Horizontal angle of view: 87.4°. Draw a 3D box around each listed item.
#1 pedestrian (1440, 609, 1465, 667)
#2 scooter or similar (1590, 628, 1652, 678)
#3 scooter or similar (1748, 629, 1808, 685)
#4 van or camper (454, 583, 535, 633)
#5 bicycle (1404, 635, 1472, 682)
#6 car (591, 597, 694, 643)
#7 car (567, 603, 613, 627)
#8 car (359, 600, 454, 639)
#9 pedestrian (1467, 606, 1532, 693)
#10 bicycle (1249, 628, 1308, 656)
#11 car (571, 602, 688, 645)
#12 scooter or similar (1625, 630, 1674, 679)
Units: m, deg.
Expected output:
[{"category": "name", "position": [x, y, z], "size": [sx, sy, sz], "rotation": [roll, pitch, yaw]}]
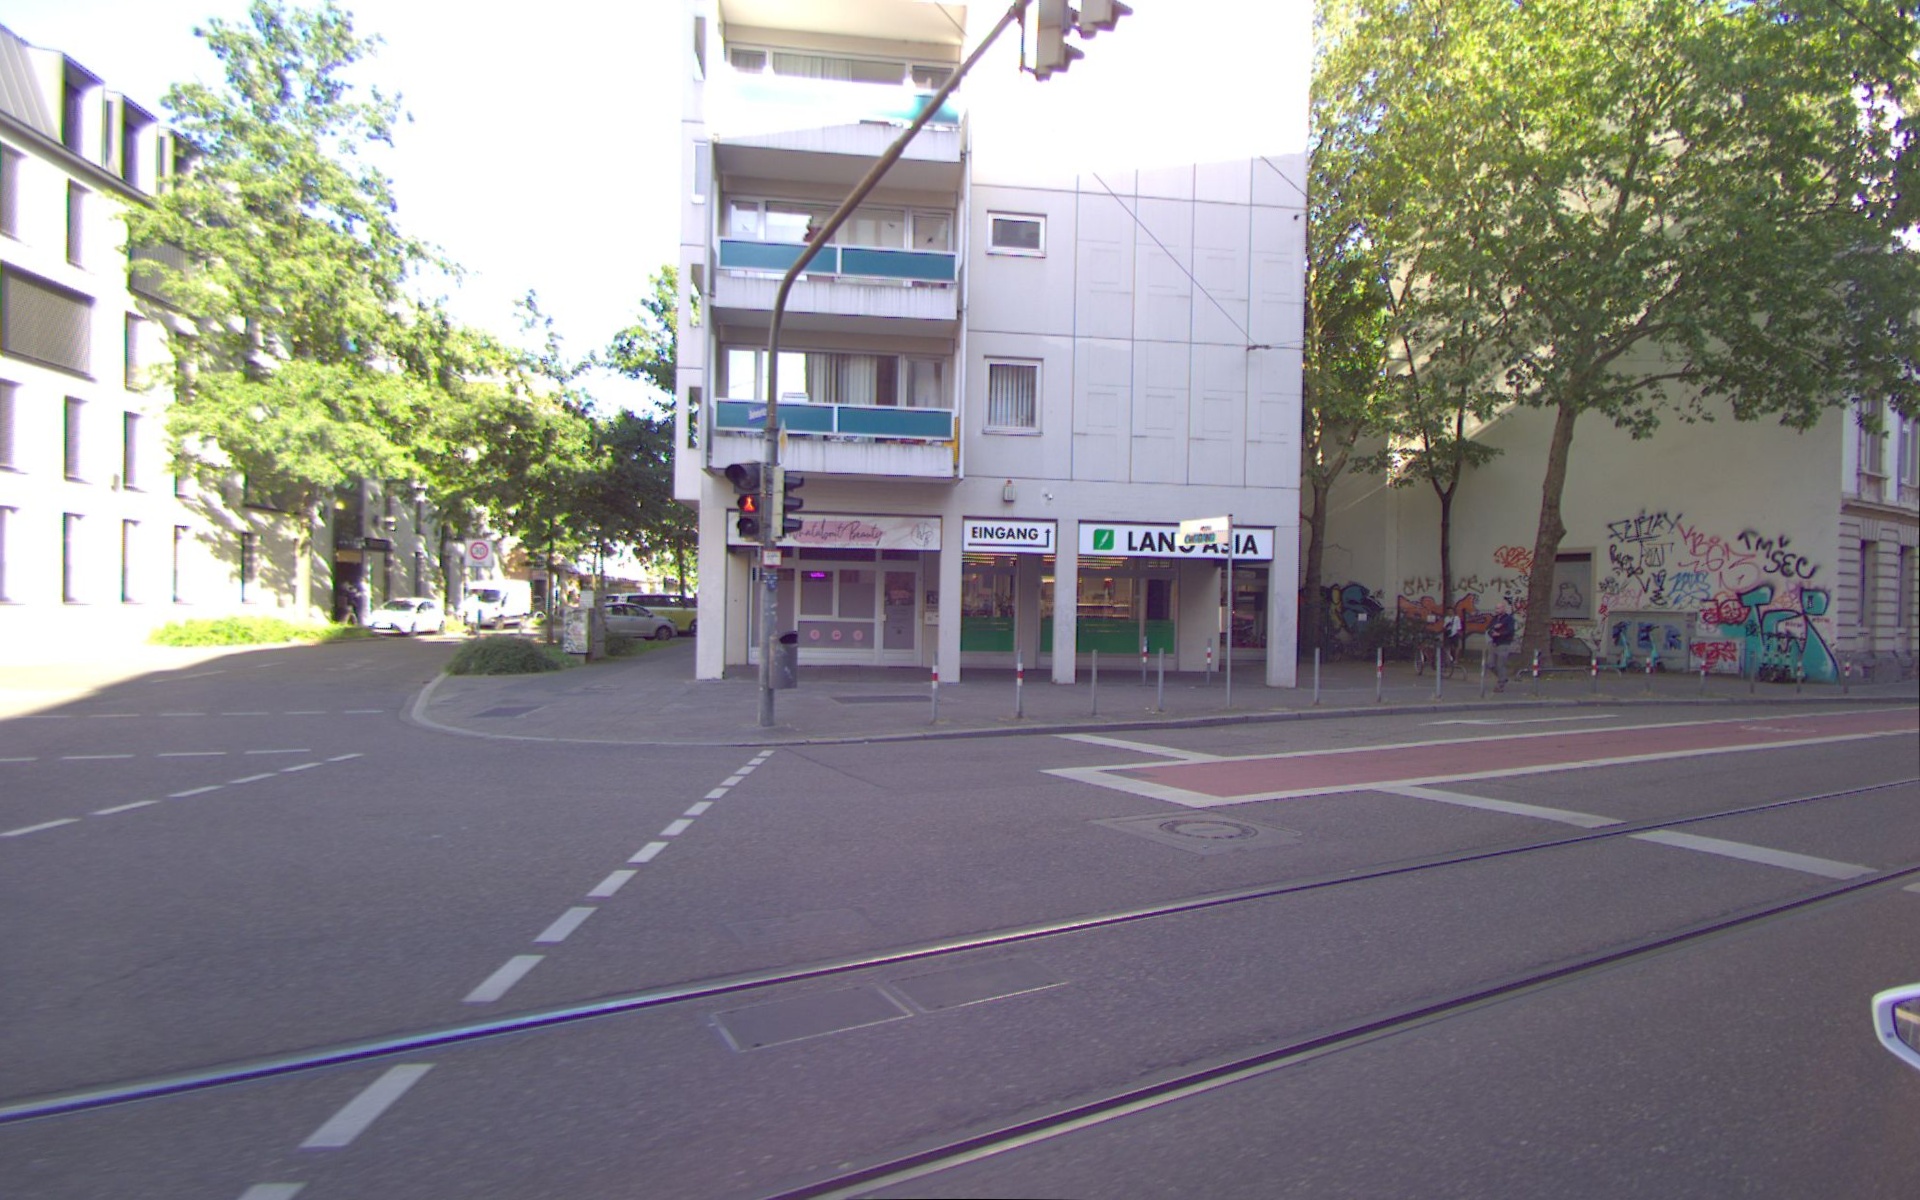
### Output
[{"category": "pedestrian", "position": [14.990, 1.146, 30.581], "size": [0.541, 1.741, 0.453], "rotation": [1, 0, -31]}, {"category": "scooter or similar", "position": [17.473, 1.381, 26.558], "size": [0.762, 1.274, 1.217], "rotation": [1, 0, -42]}, {"category": "scooter or similar", "position": [20.128, 1.388, 24.715], "size": [1.062, 1.289, 0.784], "rotation": [-1, 3, -31]}, {"category": "van or camper", "position": [-23.687, 0.415, 51.385], "size": [1.962, 2.396, 5.471], "rotation": [1, 0, -5]}, {"category": "bicycle", "position": [11.671, 1.412, 24.592], "size": [0.652, 1.048, 1.921], "rotation": [1, 0, -3]}, {"category": "car", "position": [-13.745, 0.857, 43.544], "size": [3.962, 1.900, 1.589], "rotation": [1, 0, -36]}, {"category": "car", "position": [-24.438, 0.978, 66.496], "size": [1.963, 1.546, 3.995], "rotation": [1, 0, -7]}, {"category": "car", "position": [-22.718, 0.780, 41.385], "size": [1.962, 1.483, 3.997], "rotation": [1, 0, -6]}, {"category": "pedestrian", "position": [11.285, 1.019, 21.029], "size": [1.010, 1.789, 0.681], "rotation": [1, 0, -19]}, {"category": "bicycle", "position": [10.746, 1.422, 33.918], "size": [1.950, 0.926, 0.503], "rotation": [1, 0, -17]}, {"category": "car", "position": [-12.620, 0.865, 38.409], "size": [3.963, 1.506, 1.588], "rotation": [0, 2, -38]}, {"category": "scooter or similar", "position": [18.421, 1.438, 26.847], "size": [0.762, 1.238, 0.929], "rotation": [1, 0, -42]}]
